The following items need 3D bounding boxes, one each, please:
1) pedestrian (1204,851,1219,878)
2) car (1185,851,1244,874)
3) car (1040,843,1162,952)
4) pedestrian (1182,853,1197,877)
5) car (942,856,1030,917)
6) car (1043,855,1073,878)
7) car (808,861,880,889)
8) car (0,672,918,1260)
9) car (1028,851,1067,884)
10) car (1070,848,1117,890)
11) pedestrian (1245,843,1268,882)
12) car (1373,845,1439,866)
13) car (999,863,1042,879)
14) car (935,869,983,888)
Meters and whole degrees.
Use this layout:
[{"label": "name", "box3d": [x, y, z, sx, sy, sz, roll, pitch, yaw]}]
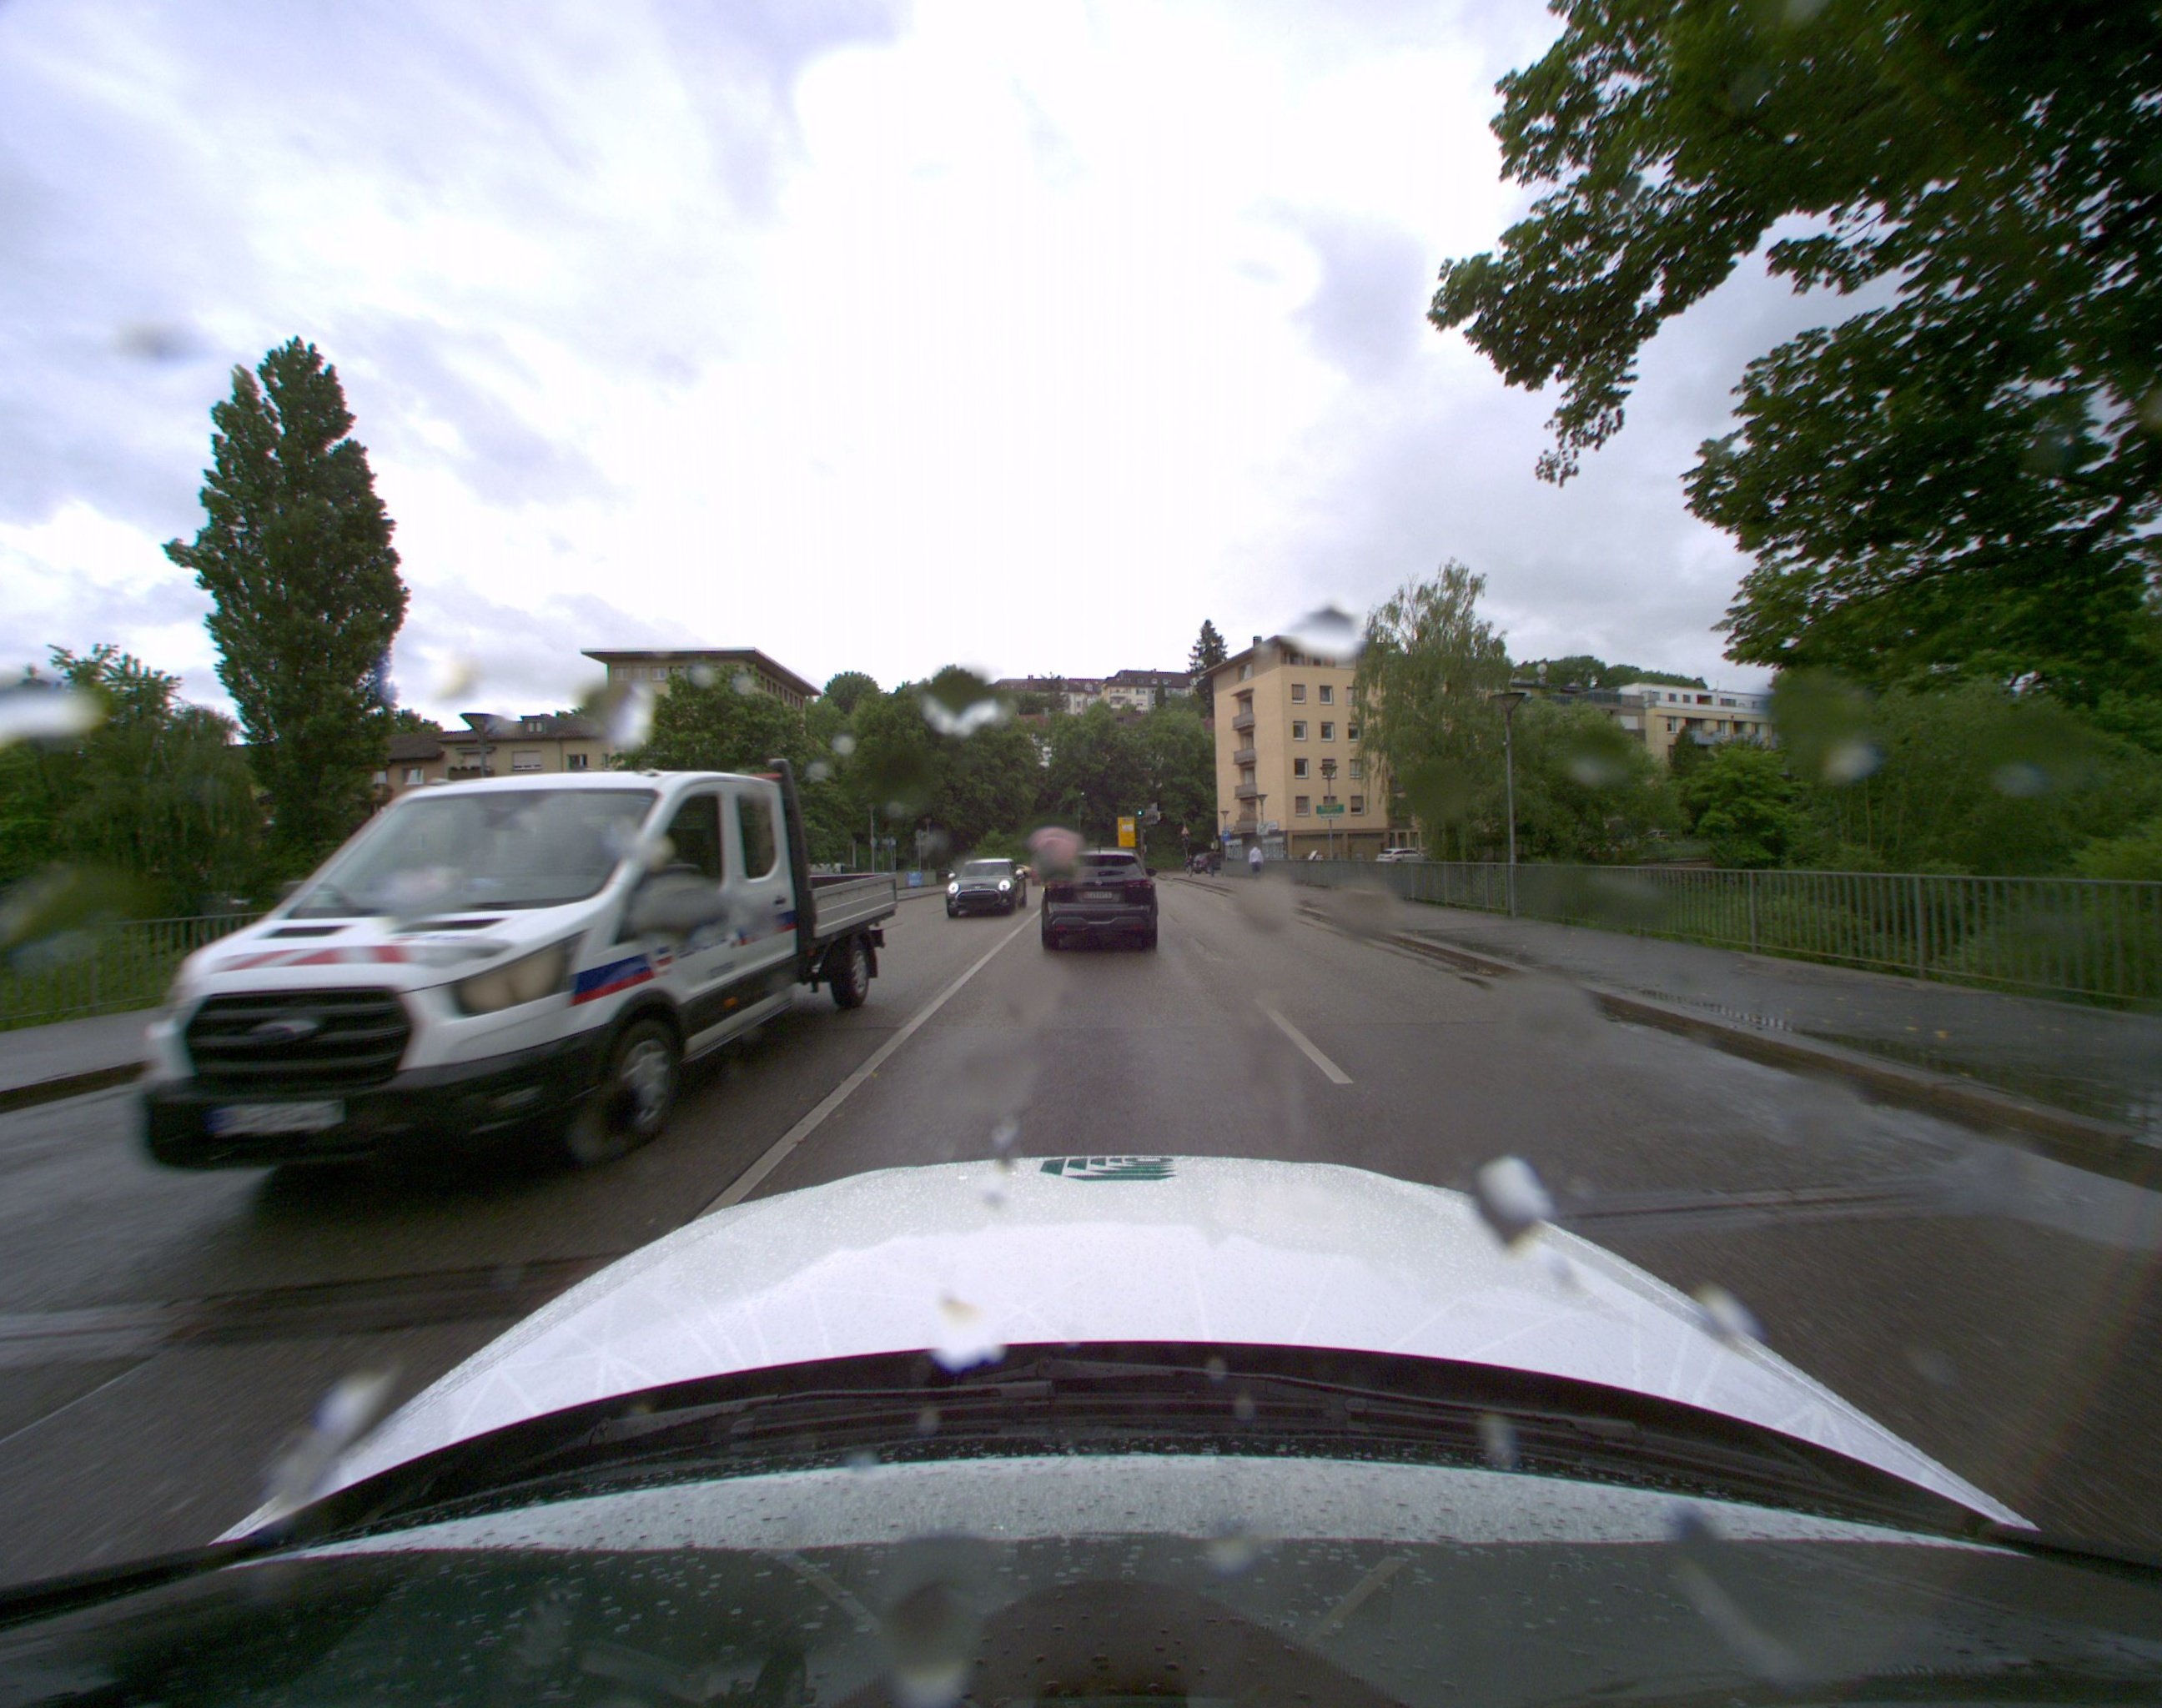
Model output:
[{"label": "pedestrian", "box3d": [8.378, 0.644, 52.459, 0.758, 1.677, 0.781, -4, 0, 1]}, {"label": "car", "box3d": [10.981, 0.682, 66.963, 4.387, 1.649, 1.868, -3, -1, -24]}, {"label": "car", "box3d": [0.350, 0.647, 14.129, 1.804, 1.603, 4.001, -1, 0, 1]}, {"label": "pedestrian", "box3d": [7.709, 0.798, 57.899, 0.859, 1.619, 0.840, -3, -1, 1]}, {"label": "car", "box3d": [-2.475, 0.819, 22.199, 1.739, 1.439, 4.002, -2, 0, 2]}, {"label": "car", "box3d": [-1.582, 0.863, 57.662, 1.775, 1.402, 4.220, -3, 0, 2]}, {"label": "car", "box3d": [-17.300, 1.499, 59.603, 4.738, 1.854, 1.995, -2, 1, -7]}, {"label": "car", "box3d": [-3.247, 0.435, 6.609, 2.281, 2.308, 6.511, -3, 0, 1]}, {"label": "car", "box3d": [-1.895, 0.741, 47.725, 1.881, 1.735, 4.373, -3, 0, 2]}, {"label": "car", "box3d": [0.538, 0.574, 33.222, 1.804, 1.603, 4.001, 0, 0, 1]}, {"label": "pedestrian", "box3d": [8.045, 0.388, 37.398, 0.777, 1.752, 1.061, -2, -1, 1]}, {"label": "car", "box3d": [24.622, 0.091, 61.677, 4.447, 1.376, 1.808, -2, 2, -15]}, {"label": "car", "box3d": [-6.250, 1.788, 84.050, 4.041, 1.416, 1.726, -3, -1, 29]}, {"label": "car", "box3d": [-11.247, 2.253, 75.180, 4.061, 1.416, 1.717, -3, -1, 5]}]
